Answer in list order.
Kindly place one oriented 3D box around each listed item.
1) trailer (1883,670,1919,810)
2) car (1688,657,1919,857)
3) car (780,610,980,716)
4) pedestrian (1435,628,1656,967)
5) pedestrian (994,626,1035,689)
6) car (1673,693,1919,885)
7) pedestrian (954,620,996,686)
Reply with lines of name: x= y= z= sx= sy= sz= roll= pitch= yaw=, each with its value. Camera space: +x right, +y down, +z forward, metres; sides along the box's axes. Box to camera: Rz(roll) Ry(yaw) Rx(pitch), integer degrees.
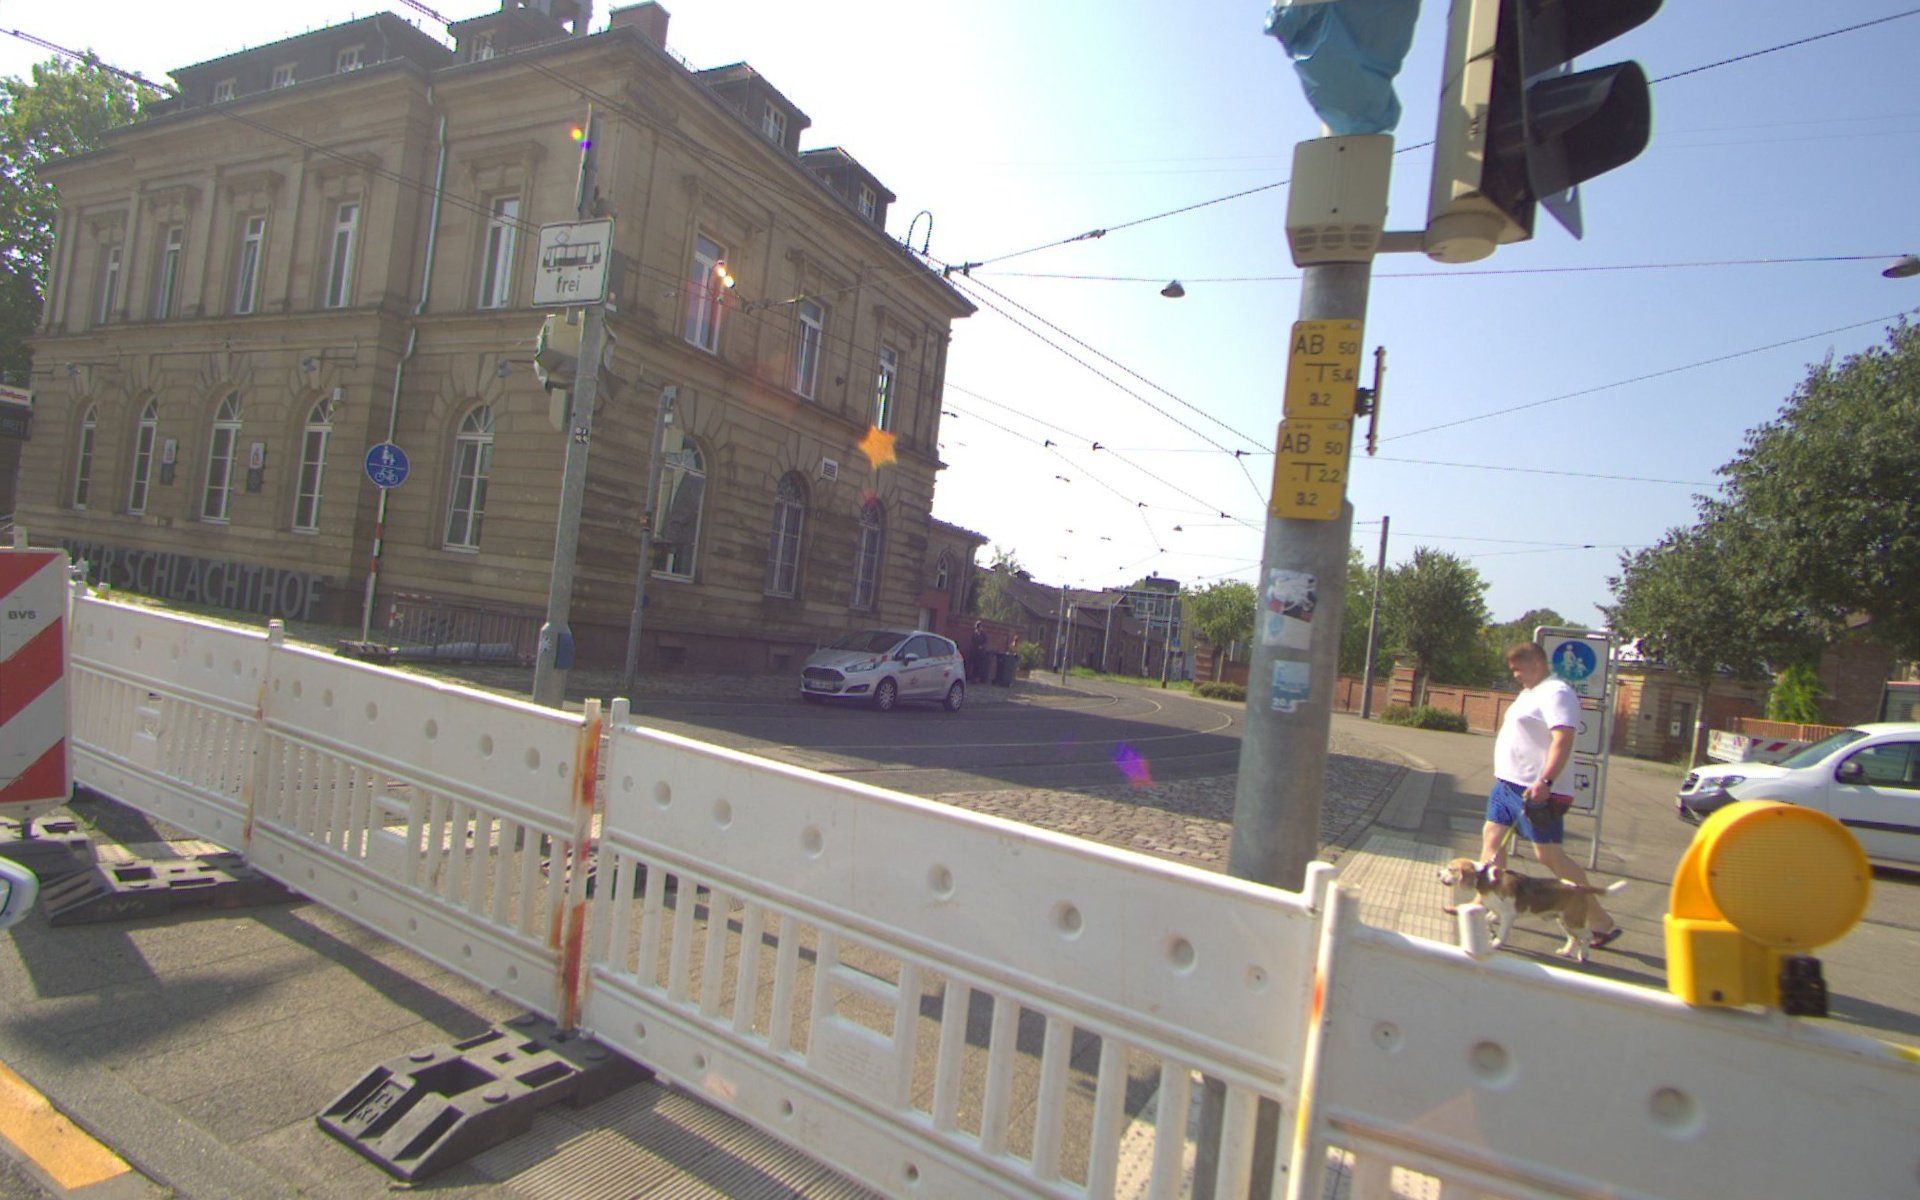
trailer: x=22.157 y=3.121 z=21.158 sx=2.468 sy=3.083 sz=4.123 roll=5 pitch=-2 yaw=21
car: x=14.000 y=2.377 z=14.269 sx=5.390 sy=2.451 sz=2.265 roll=6 pitch=-1 yaw=24
car: x=-1.316 y=1.207 z=18.300 sx=1.636 sy=1.554 sz=4.011 roll=6 pitch=-3 yaw=27
pedestrian: x=3.373 y=1.083 z=5.879 sx=0.658 sy=1.758 sz=0.870 roll=6 pitch=-1 yaw=6
pedestrian: x=1.744 y=1.833 z=32.090 sx=1.018 sy=1.886 sz=0.672 roll=6 pitch=-1 yaw=14
car: x=10.981 y=2.255 z=11.699 sx=4.157 sy=1.805 sz=1.905 roll=5 pitch=-1 yaw=33
pedestrian: x=0.463 y=1.600 z=30.385 sx=0.854 sy=1.886 sz=0.670 roll=6 pitch=-1 yaw=28
